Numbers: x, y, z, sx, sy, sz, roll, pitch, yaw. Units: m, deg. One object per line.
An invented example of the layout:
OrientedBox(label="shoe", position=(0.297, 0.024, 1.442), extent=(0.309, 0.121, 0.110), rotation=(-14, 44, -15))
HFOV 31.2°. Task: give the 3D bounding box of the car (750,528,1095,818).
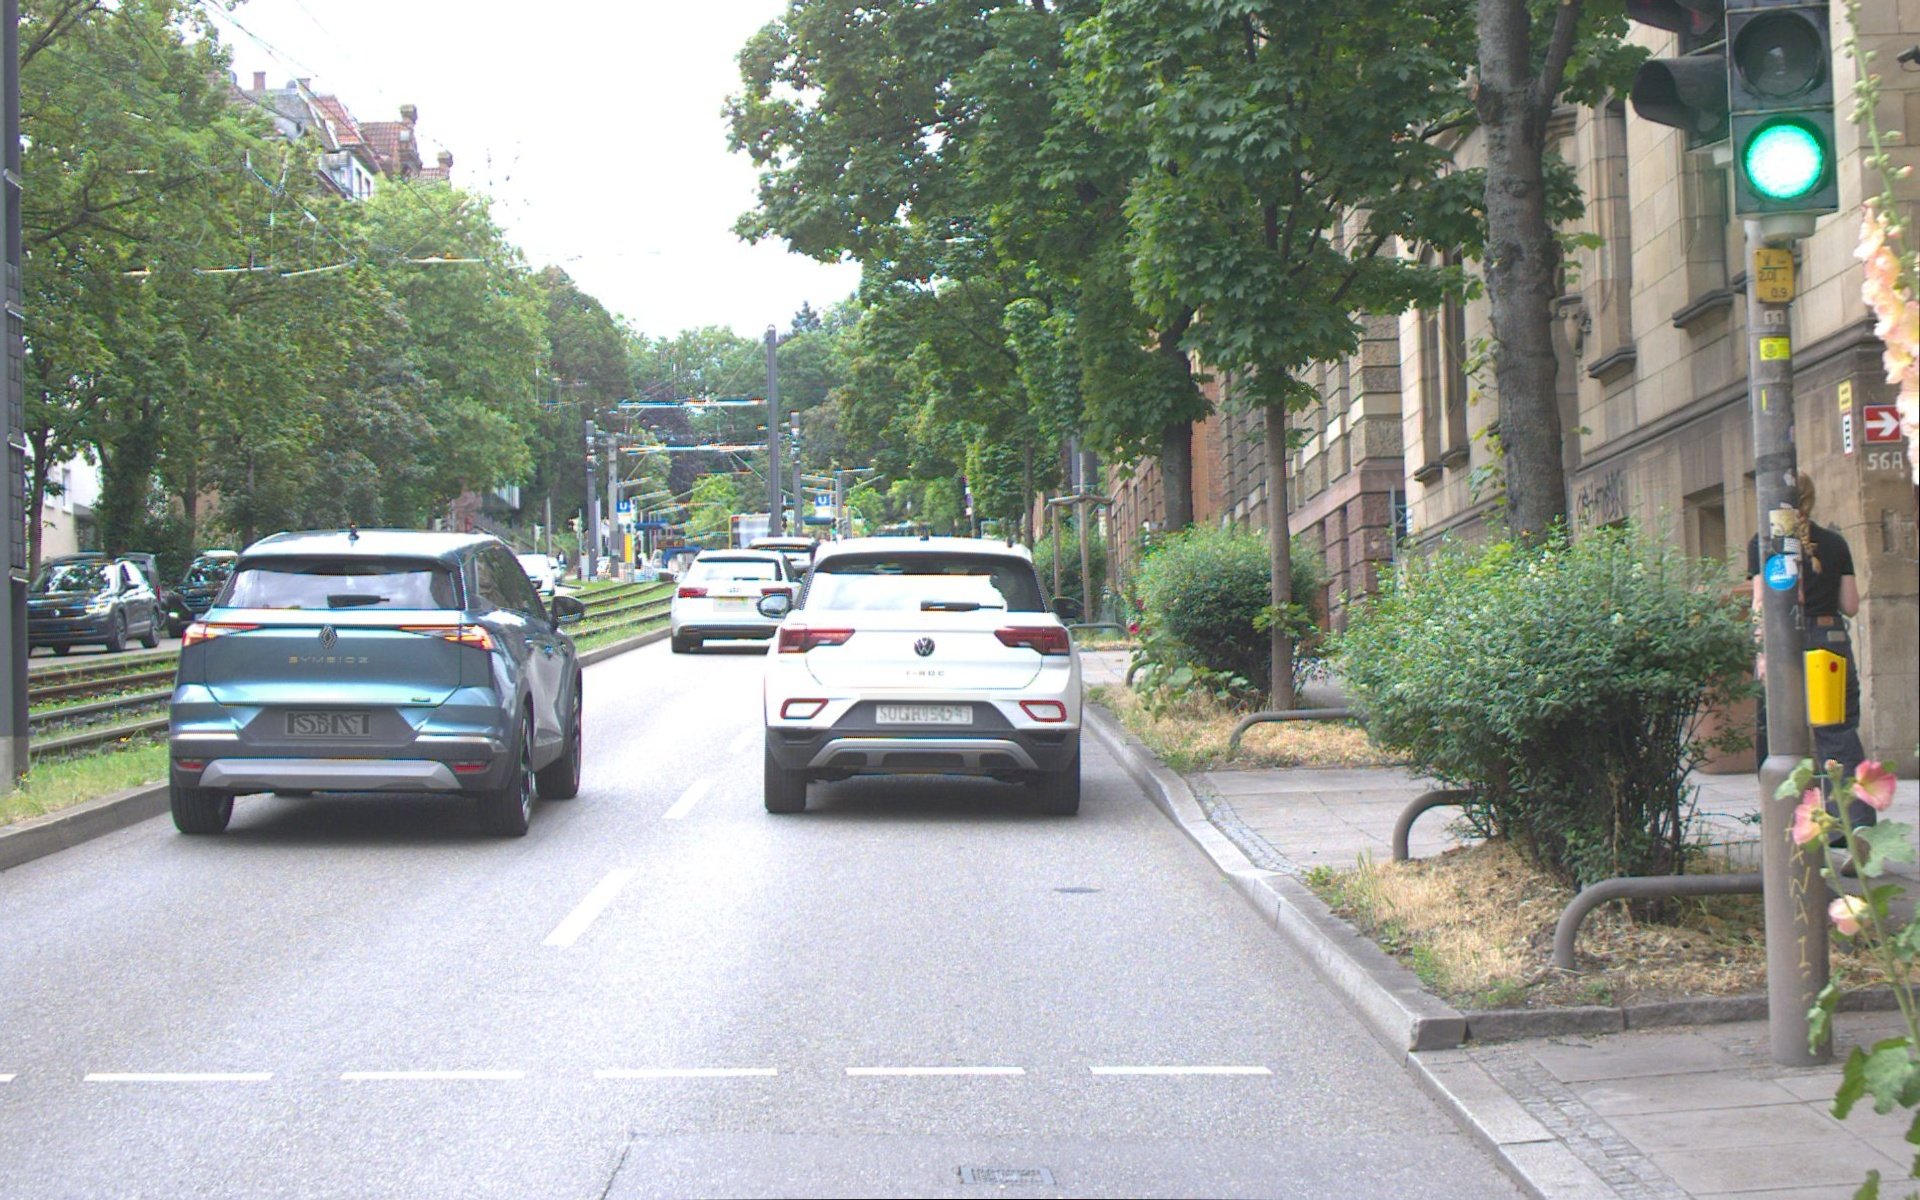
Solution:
OrientedBox(label="car", position=(-0.253, 0.368, 20.434), extent=(1.835, 1.541, 4.194), rotation=(0, 1, -1))

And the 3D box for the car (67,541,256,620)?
OrientedBox(label="car", position=(-19.767, -0.484, 85.137), extent=(4.177, 1.830, 1.872), rotation=(-2, 1, -27))

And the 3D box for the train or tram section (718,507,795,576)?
OrientedBox(label="train or tram section", position=(-10.418, -2.981, 177.264), extent=(2.996, 3.337, 13.439), rotation=(-1, 1, 0))

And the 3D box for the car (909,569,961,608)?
OrientedBox(label="car", position=(-1.019, -0.480, 139.581), extent=(2.068, 1.541, 4.193), rotation=(0, 1, 0))

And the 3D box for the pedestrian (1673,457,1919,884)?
OrientedBox(label="pedestrian", position=(3.306, 0.251, 13.480), extent=(0.685, 1.569, 1.216), rotation=(-3, 1, -1))

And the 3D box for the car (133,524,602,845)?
OrientedBox(label="car", position=(-3.076, 0.385, 18.679), extent=(1.835, 1.541, 4.193), rotation=(0, 1, 0))

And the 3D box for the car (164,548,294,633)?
OrientedBox(label="car", position=(-15.298, -0.225, 72.154), extent=(1.780, 1.651, 4.243), rotation=(-3, 1, 0))

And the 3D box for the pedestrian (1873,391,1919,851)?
OrientedBox(label="pedestrian", position=(4.138, 0.077, 13.544), extent=(0.685, 1.823, 1.121), rotation=(-3, 0, -1))

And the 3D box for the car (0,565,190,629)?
OrientedBox(label="car", position=(-20.082, -0.069, 79.142), extent=(4.178, 1.335, 1.872), rotation=(-2, 1, -30))

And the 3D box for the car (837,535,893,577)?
OrientedBox(label="car", position=(-3.599, -1.658, 129.947), extent=(2.068, 1.541, 4.194), rotation=(0, 1, -2))

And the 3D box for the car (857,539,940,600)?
OrientedBox(label="car", position=(-1.628, -0.808, 89.435), extent=(2.068, 1.541, 4.194), rotation=(0, 1, -2))

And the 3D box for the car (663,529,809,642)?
OrientedBox(label="car", position=(-3.183, -0.221, 49.468), extent=(1.835, 1.541, 4.193), rotation=(0, 1, 0))

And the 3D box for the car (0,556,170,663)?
OrientedBox(label="car", position=(-15.031, 0.126, 59.001), extent=(1.880, 1.644, 4.471), rotation=(-3, 1, -1))

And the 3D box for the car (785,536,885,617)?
OrientedBox(label="car", position=(-2.451, -0.470, 68.163), extent=(1.835, 1.541, 4.193), rotation=(0, 1, 0))

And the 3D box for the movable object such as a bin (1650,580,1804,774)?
OrientedBox(label="movable object such as a bin", position=(4.296, 0.423, 19.285), extent=(0.671, 1.012, 0.582), rotation=(-3, 3, -3))

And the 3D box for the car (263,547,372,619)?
OrientedBox(label="car", position=(-15.569, -0.423, 83.477), extent=(1.780, 1.611, 4.346), rotation=(-3, 1, 0))
